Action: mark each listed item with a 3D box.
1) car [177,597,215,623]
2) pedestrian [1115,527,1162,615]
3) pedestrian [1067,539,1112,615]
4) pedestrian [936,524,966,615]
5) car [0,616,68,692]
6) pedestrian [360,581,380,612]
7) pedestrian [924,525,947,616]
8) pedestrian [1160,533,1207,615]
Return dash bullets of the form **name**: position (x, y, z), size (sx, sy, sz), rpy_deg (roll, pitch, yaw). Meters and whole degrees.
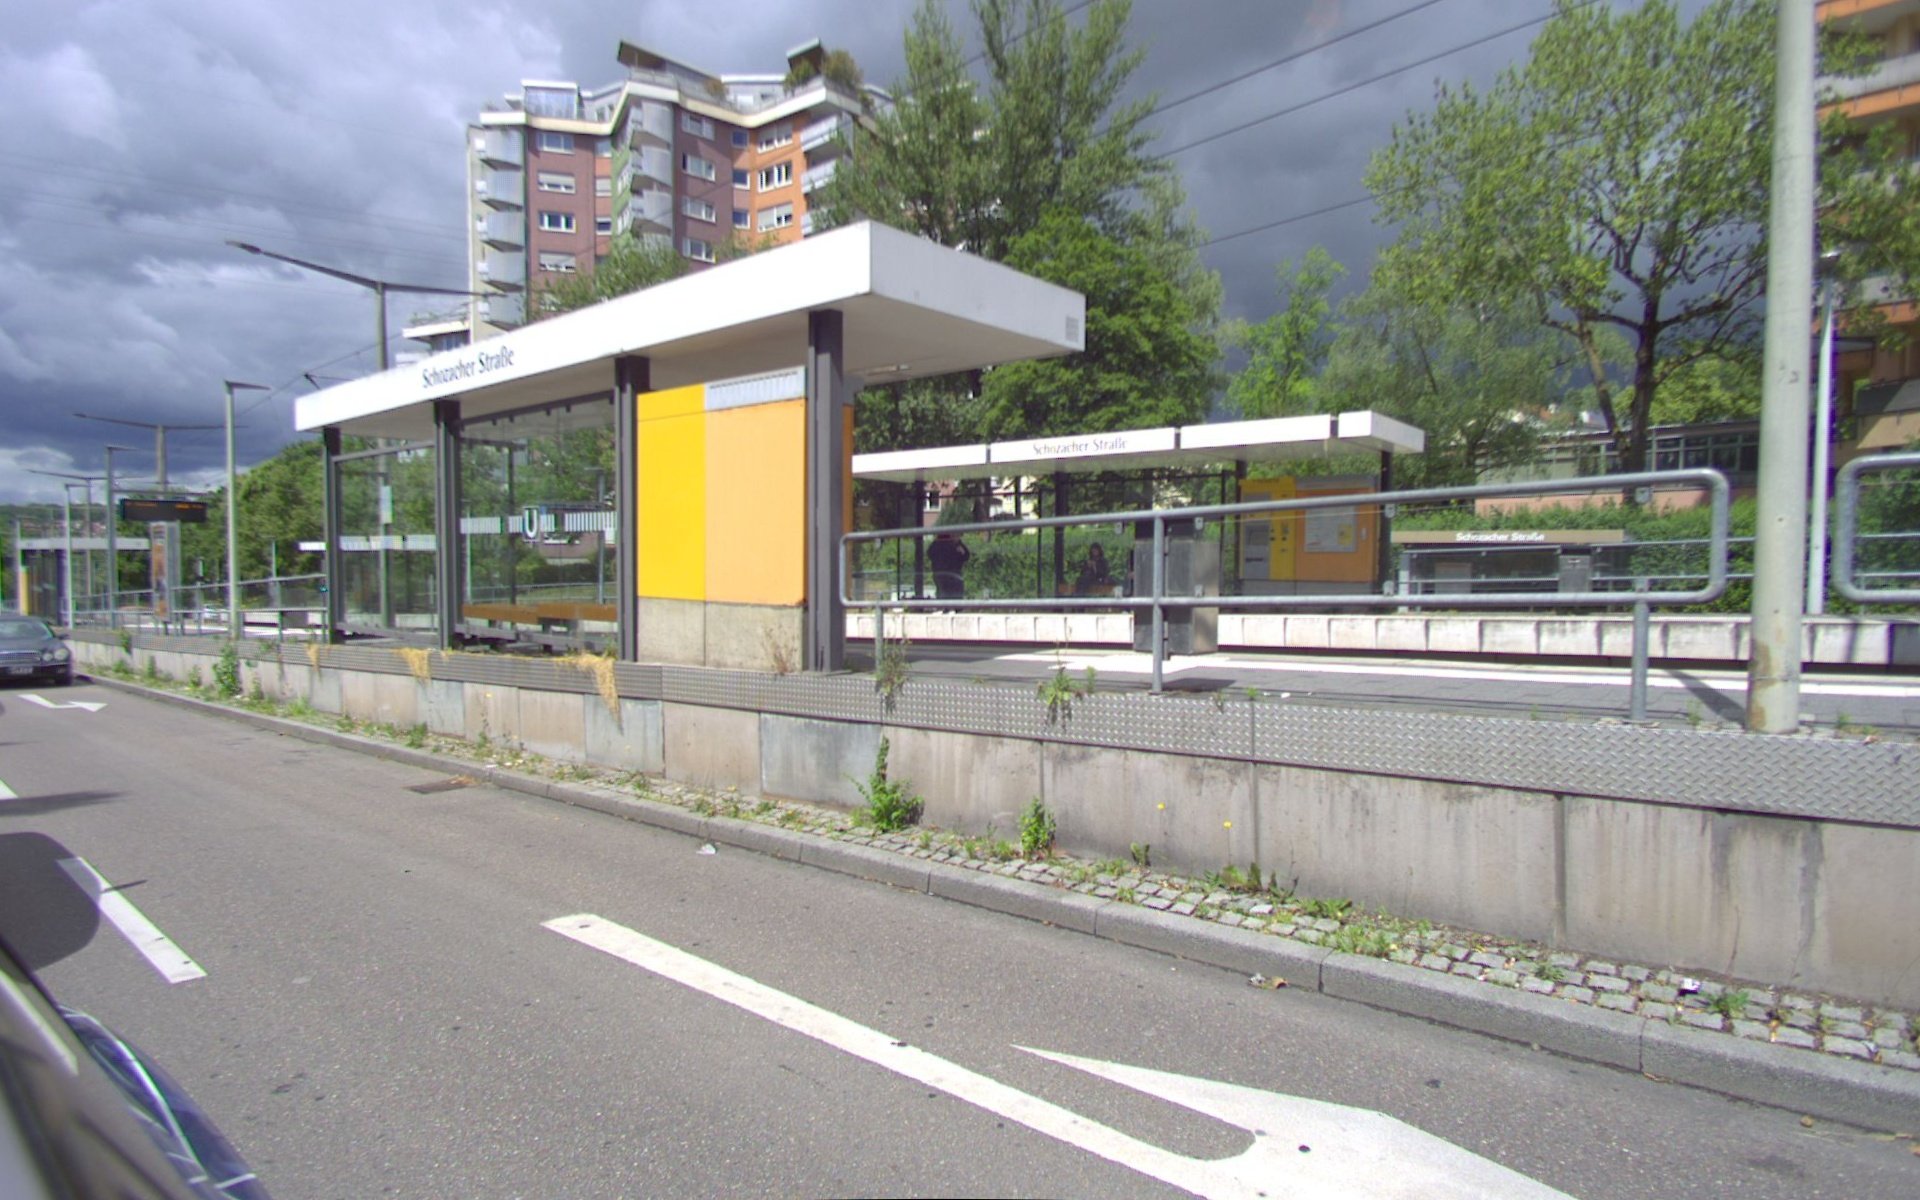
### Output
- **car**: position (-60.584, 0.775, 80.281), size (4.000, 2.029, 1.714), rpy_deg (-1, 0, 43)
- **pedestrian**: position (2.983, -0.474, 16.889), size (0.463, 1.428, 0.704), rpy_deg (-1, 0, 40)
- **pedestrian**: position (2.269, -0.396, 17.690), size (0.463, 1.287, 0.704), rpy_deg (-1, 0, 40)
- **pedestrian**: position (-0.173, -0.575, 19.364), size (0.544, 1.726, 0.386), rpy_deg (-1, 0, 3)
- **car**: position (-19.451, 1.044, 20.396), size (4.065, 1.395, 1.797), rpy_deg (-1, 0, 43)
- **pedestrian**: position (-24.315, -0.149, 41.726), size (0.561, 1.287, 0.530), rpy_deg (-1, 0, 36)
- **pedestrian**: position (-0.468, -0.562, 19.378), size (0.421, 1.726, 0.353), rpy_deg (-1, 0, -1)
- **pedestrian**: position (3.607, -0.411, 16.335), size (0.463, 1.287, 0.704), rpy_deg (-1, 0, 40)
